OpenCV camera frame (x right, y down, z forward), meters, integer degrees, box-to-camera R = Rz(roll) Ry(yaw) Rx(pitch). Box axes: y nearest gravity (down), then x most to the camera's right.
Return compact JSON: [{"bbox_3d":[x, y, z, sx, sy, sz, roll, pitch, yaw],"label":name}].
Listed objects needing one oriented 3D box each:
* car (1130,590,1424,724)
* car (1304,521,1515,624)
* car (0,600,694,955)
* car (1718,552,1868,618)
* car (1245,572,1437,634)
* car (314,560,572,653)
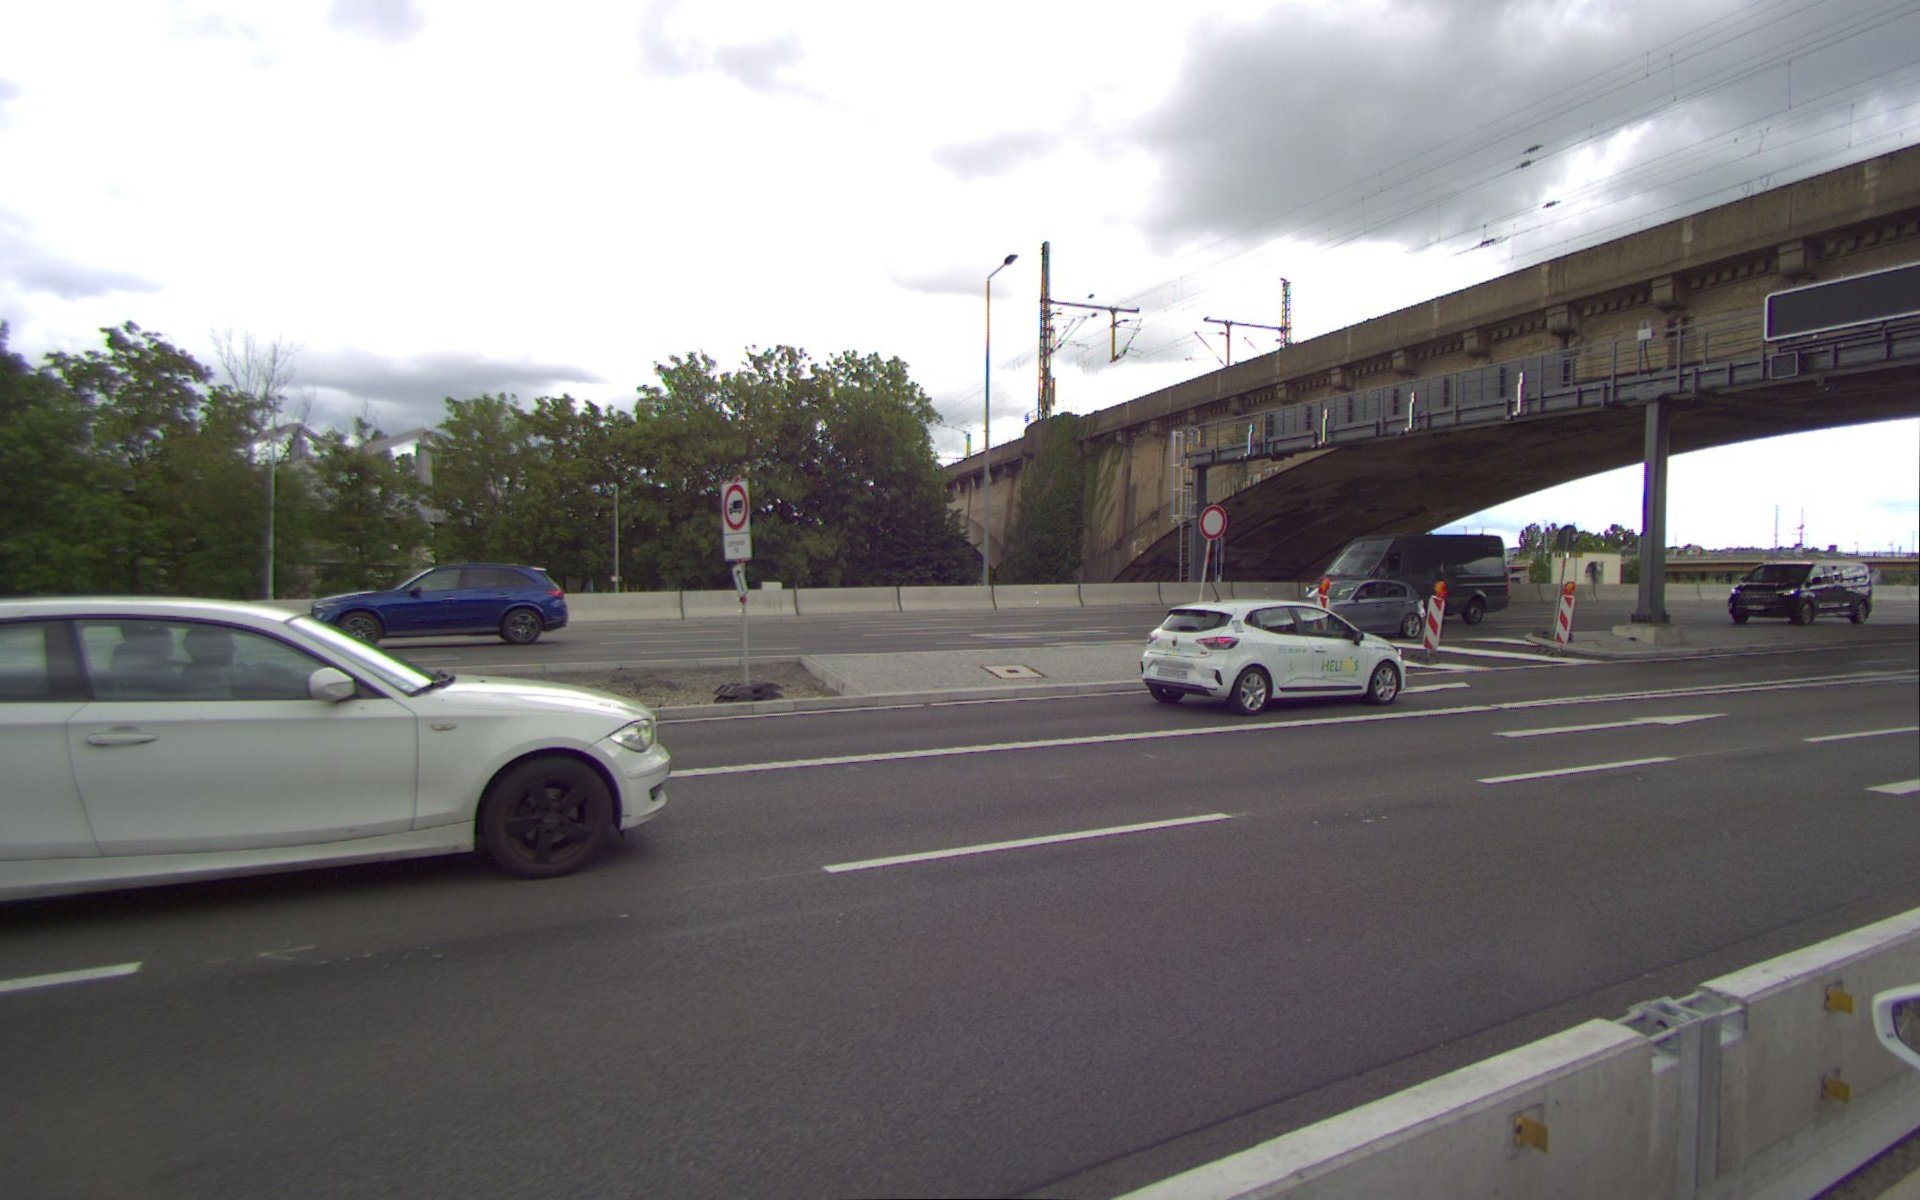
[{"bbox_3d":[4.375,0.666,13.734,3.950,1.504,1.568,-1,4,-31],"label":"car"},{"bbox_3d":[13.282,-0.750,29.641,6.059,2.814,2.209,0,1,-24],"label":"car"},{"bbox_3d":[-3.554,0.727,5.250,3.932,1.452,1.631,0,0,-29],"label":"car"},{"bbox_3d":[27.549,-0.516,33.189,5.123,2.041,1.954,-1,2,-28],"label":"car"},{"bbox_3d":[8.930,0.053,23.518,4.200,1.349,1.879,0,1,-26],"label":"car"},{"bbox_3d":[-10.379,0.052,20.338,4.437,1.707,1.876,-1,2,-31],"label":"car"}]
